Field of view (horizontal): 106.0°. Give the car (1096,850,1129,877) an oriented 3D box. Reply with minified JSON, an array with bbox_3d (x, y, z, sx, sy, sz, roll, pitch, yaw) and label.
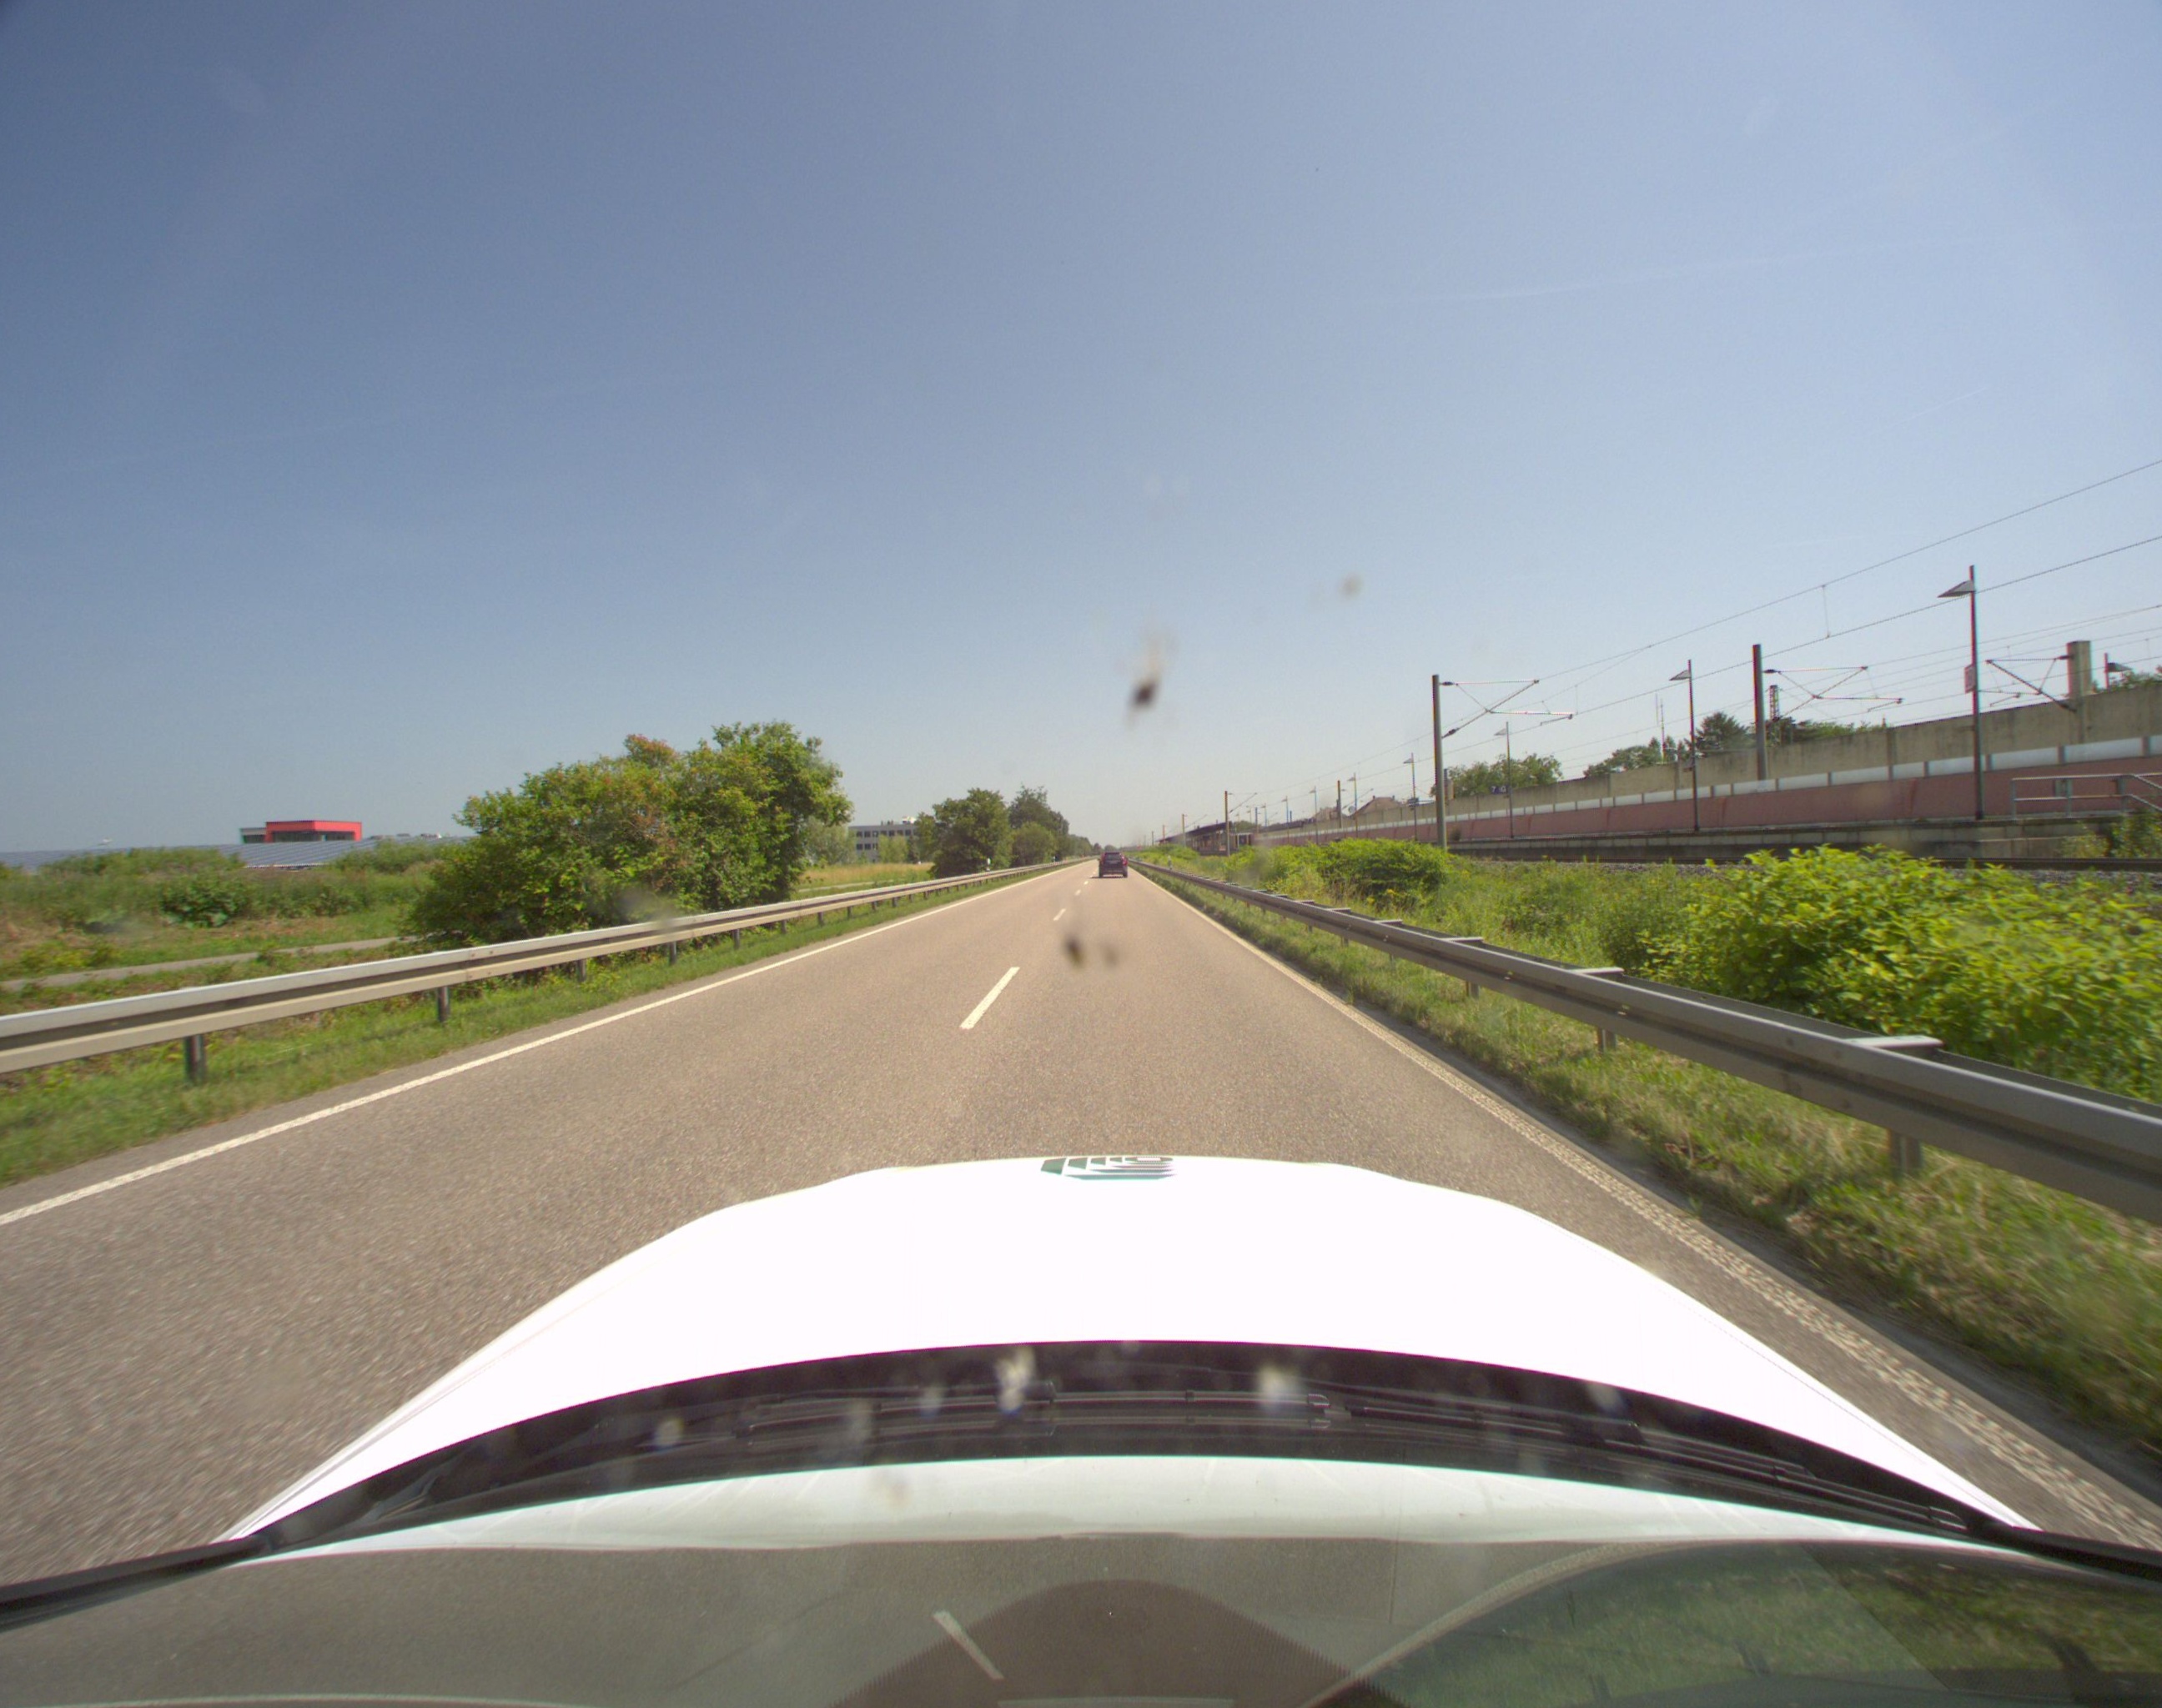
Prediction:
[{"bbox_3d":[2.054,0.608,54.237,1.987,1.700,3.999,-1,0,0],"label":"car"}]
